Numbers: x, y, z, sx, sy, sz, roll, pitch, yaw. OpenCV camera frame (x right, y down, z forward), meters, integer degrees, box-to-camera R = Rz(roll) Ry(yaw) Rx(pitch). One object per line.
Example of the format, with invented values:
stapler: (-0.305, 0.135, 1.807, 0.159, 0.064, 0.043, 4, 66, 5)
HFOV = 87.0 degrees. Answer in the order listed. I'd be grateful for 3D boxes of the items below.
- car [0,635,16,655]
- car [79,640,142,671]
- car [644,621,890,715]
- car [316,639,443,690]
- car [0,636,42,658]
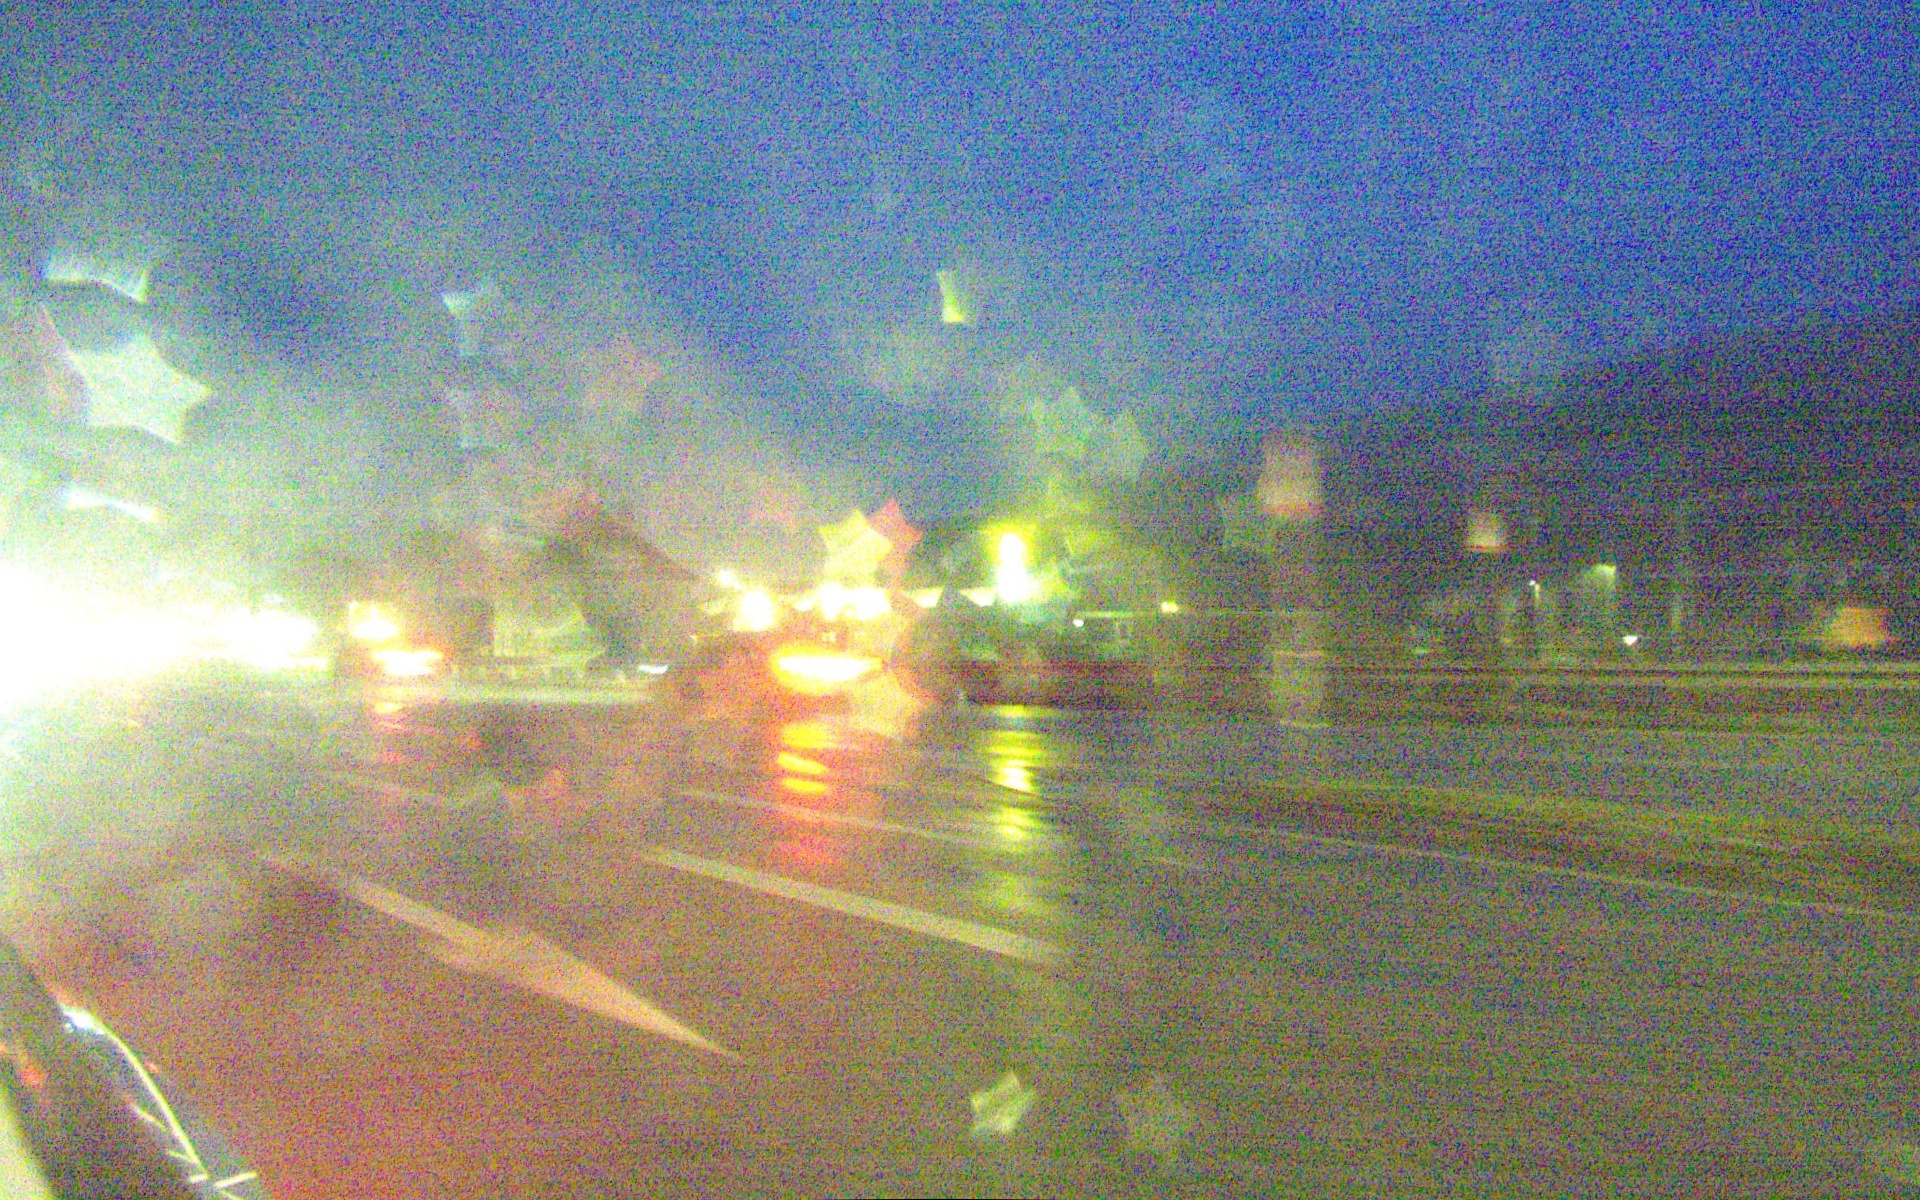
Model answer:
car: (-85.251, 3.985, 89.623, 4.525, 1.758, 2.174, -2, -2, 43)
car: (-42.477, 2.761, 50.603, 3.852, 1.452, 1.772, -2, -2, 40)
car: (-3.644, 1.201, 18.681, 4.550, 1.519, 1.974, -2, -2, 39)
car: (-17.630, 1.900, 30.659, 4.243, 1.408, 1.858, -2, -3, 38)
car: (-65.058, 3.232, 70.014, 4.488, 1.453, 1.813, -2, -2, 41)
